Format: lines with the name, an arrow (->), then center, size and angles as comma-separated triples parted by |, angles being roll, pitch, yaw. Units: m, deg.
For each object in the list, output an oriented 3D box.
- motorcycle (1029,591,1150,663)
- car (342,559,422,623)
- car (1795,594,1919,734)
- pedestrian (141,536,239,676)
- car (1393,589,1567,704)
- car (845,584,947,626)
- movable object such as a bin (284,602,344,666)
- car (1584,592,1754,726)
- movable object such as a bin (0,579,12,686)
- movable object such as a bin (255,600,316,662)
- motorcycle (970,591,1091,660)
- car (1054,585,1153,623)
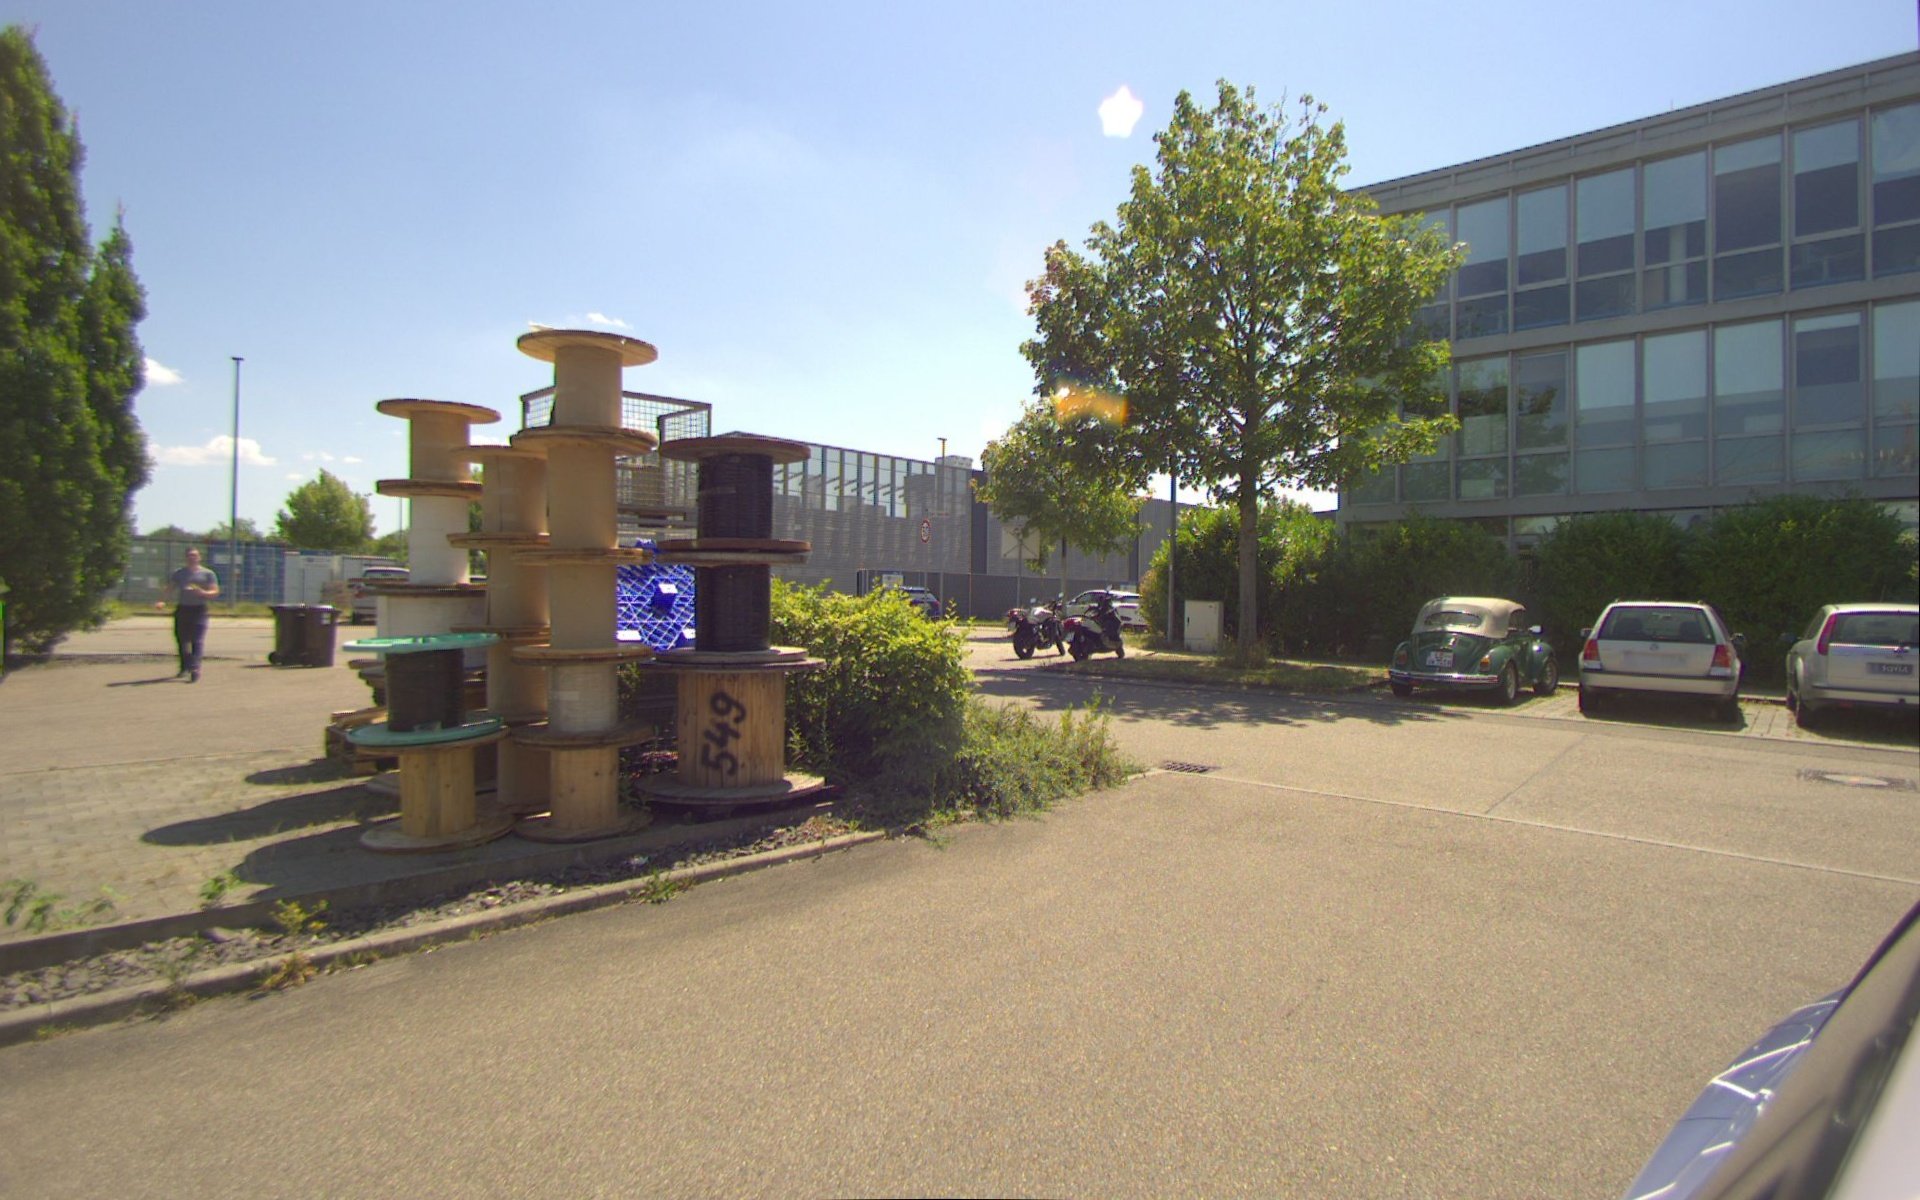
motorcycle -> 2.540, 0.481, 19.537 | 0.871, 1.275, 2.792 | 1, 1, 43
car -> -16.788, -0.277, 29.546 | 1.813, 1.727, 4.006 | 0, 1, -27
car -> 11.480, 0.702, 12.425 | 1.723, 1.470, 3.552 | 2, 2, 37
pedestrian -> -10.227, 0.073, 13.464 | 0.792, 1.791, 0.770 | 1, 1, -15
car -> 7.775, 0.586, 15.008 | 1.517, 1.463, 3.368 | 2, 2, 41
car -> -2.398, 0.147, 36.981 | 1.823, 1.427, 4.449 | 0, 0, -32
movable object such as a bin -> -9.827, 0.511, 15.400 | 0.578, 0.929, 0.544 | 1, 1, 20
car -> 9.513, 0.663, 13.523 | 1.634, 1.470, 3.552 | 2, 2, 37
movable object such as a bin -> -12.390, 0.401, 12.581 | 0.787, 1.314, 0.810 | 0, 1, -37
movable object such as a bin -> -10.422, 0.467, 15.642 | 0.578, 0.929, 0.544 | 1, 1, 20
motorcycle -> 1.458, 0.465, 20.324 | 0.871, 1.275, 2.792 | 1, 1, 43
car -> 5.879, 0.124, 41.944 | 1.745, 1.494, 4.420 | 0, 1, -29
